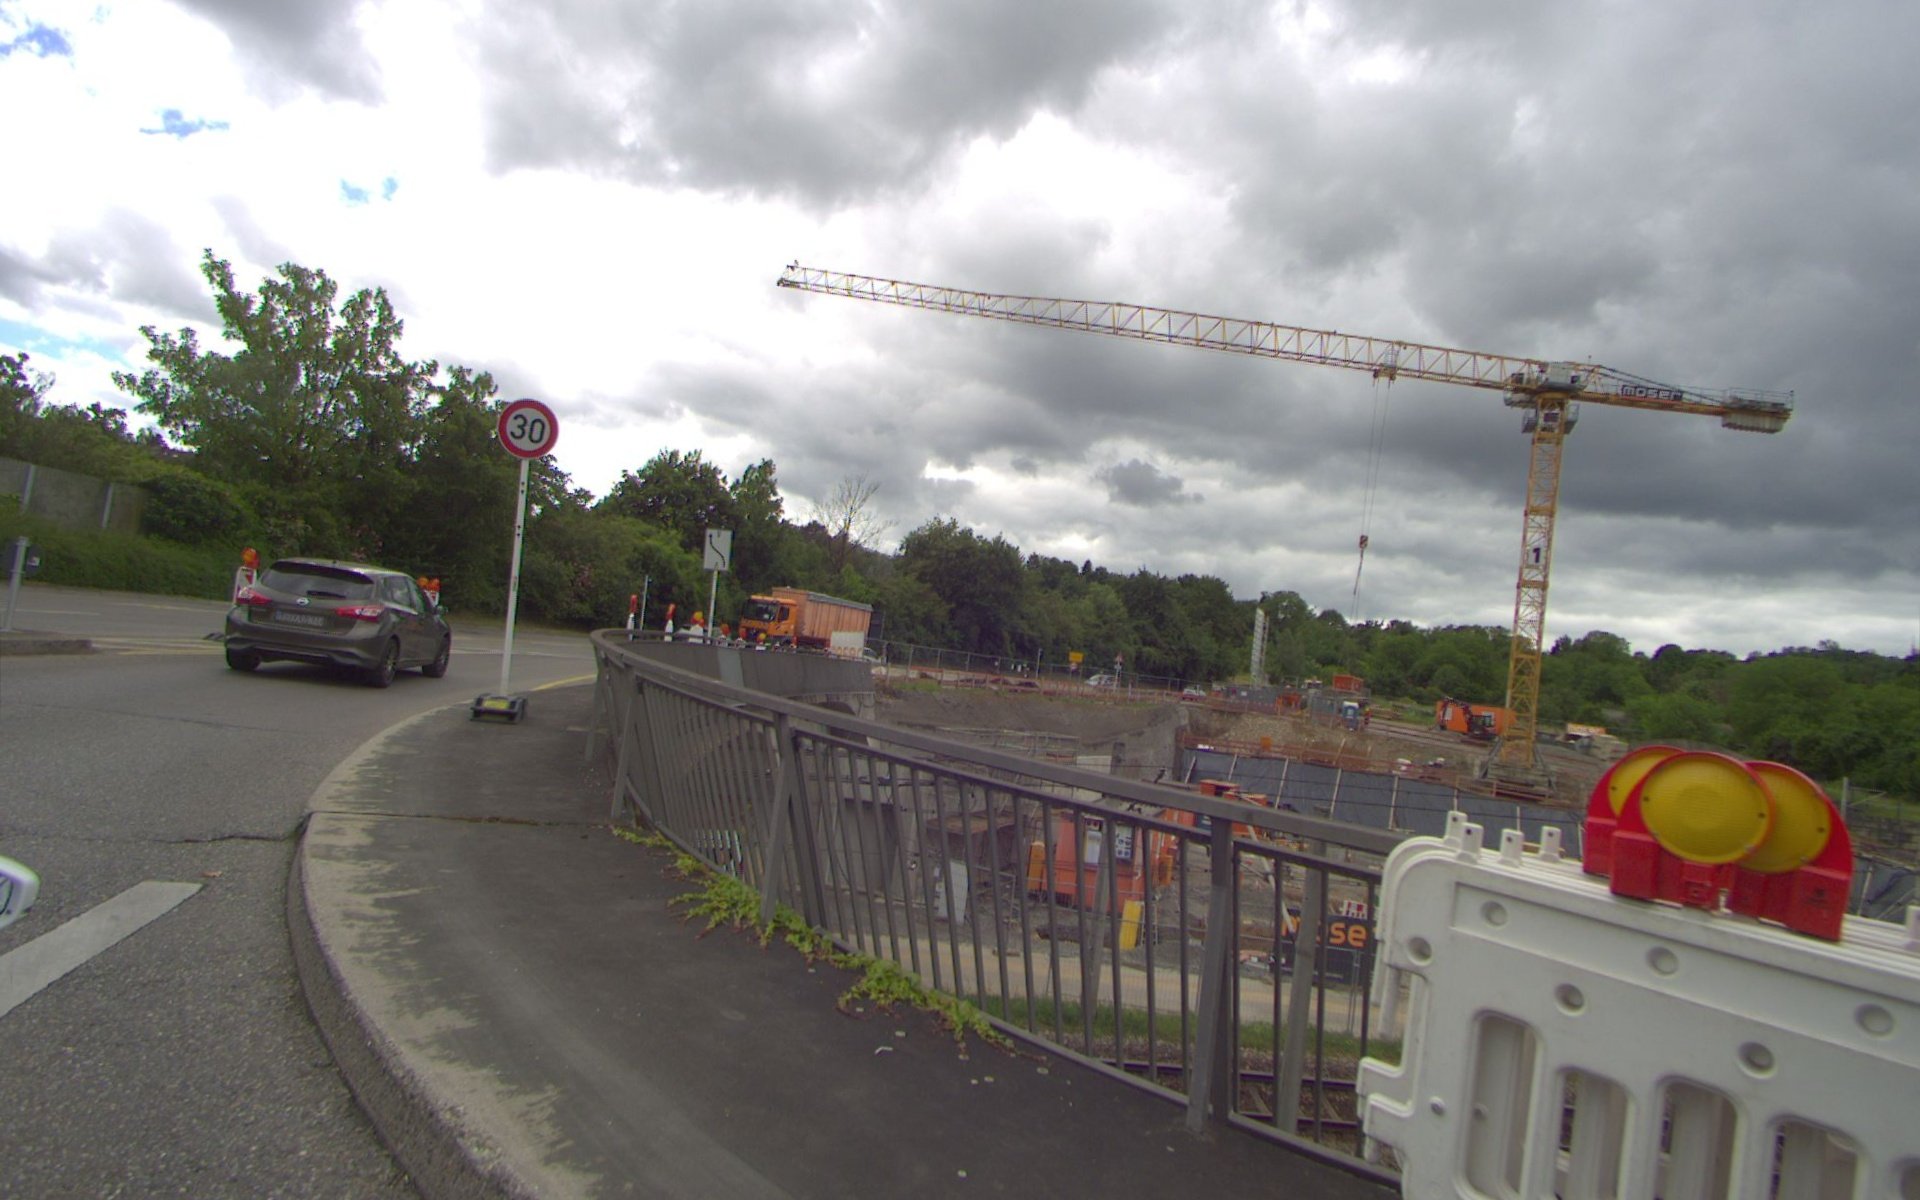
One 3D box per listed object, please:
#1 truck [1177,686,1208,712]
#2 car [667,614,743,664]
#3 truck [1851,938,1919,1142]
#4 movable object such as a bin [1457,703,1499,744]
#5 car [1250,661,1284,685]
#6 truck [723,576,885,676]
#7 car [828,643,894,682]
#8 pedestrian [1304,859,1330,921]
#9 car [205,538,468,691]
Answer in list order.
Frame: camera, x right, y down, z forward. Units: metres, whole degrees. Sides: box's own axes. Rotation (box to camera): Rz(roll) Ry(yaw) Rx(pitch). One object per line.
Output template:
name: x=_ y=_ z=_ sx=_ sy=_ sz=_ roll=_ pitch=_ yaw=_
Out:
truck: x=22.227 y=9.495 z=96.138 sx=1.713 sy=2.032 sz=3.227 roll=5 pitch=-7 yaw=34
car: x=-9.687 y=1.508 z=38.508 sx=1.792 sy=1.569 sz=3.792 roll=8 pitch=-3 yaw=0
truck: x=27.122 y=10.904 z=21.732 sx=11.400 sy=3.934 sz=2.852 roll=8 pitch=-3 yaw=16
movable object such as a bin: x=44.463 y=10.567 z=86.317 sx=2.758 sy=3.110 sz=1.837 roll=4 pitch=-4 yaw=36
car: x=32.399 y=7.664 z=106.040 sx=1.972 sy=2.035 sz=3.989 roll=4 pitch=-5 yaw=39
truck: x=-8.328 y=1.620 z=55.578 sx=3.067 sy=4.266 sz=9.791 roll=6 pitch=-4 yaw=29
car: x=-5.379 y=3.428 z=54.941 sx=1.686 sy=1.692 sz=4.004 roll=5 pitch=-5 yaw=24
pedestrian: x=13.220 y=10.712 z=37.221 sx=0.690 sy=2.031 sz=0.806 roll=6 pitch=-7 yaw=17
car: x=-8.268 y=0.205 z=13.803 sx=1.776 sy=1.569 sz=3.991 roll=8 pitch=-2 yaw=-14
